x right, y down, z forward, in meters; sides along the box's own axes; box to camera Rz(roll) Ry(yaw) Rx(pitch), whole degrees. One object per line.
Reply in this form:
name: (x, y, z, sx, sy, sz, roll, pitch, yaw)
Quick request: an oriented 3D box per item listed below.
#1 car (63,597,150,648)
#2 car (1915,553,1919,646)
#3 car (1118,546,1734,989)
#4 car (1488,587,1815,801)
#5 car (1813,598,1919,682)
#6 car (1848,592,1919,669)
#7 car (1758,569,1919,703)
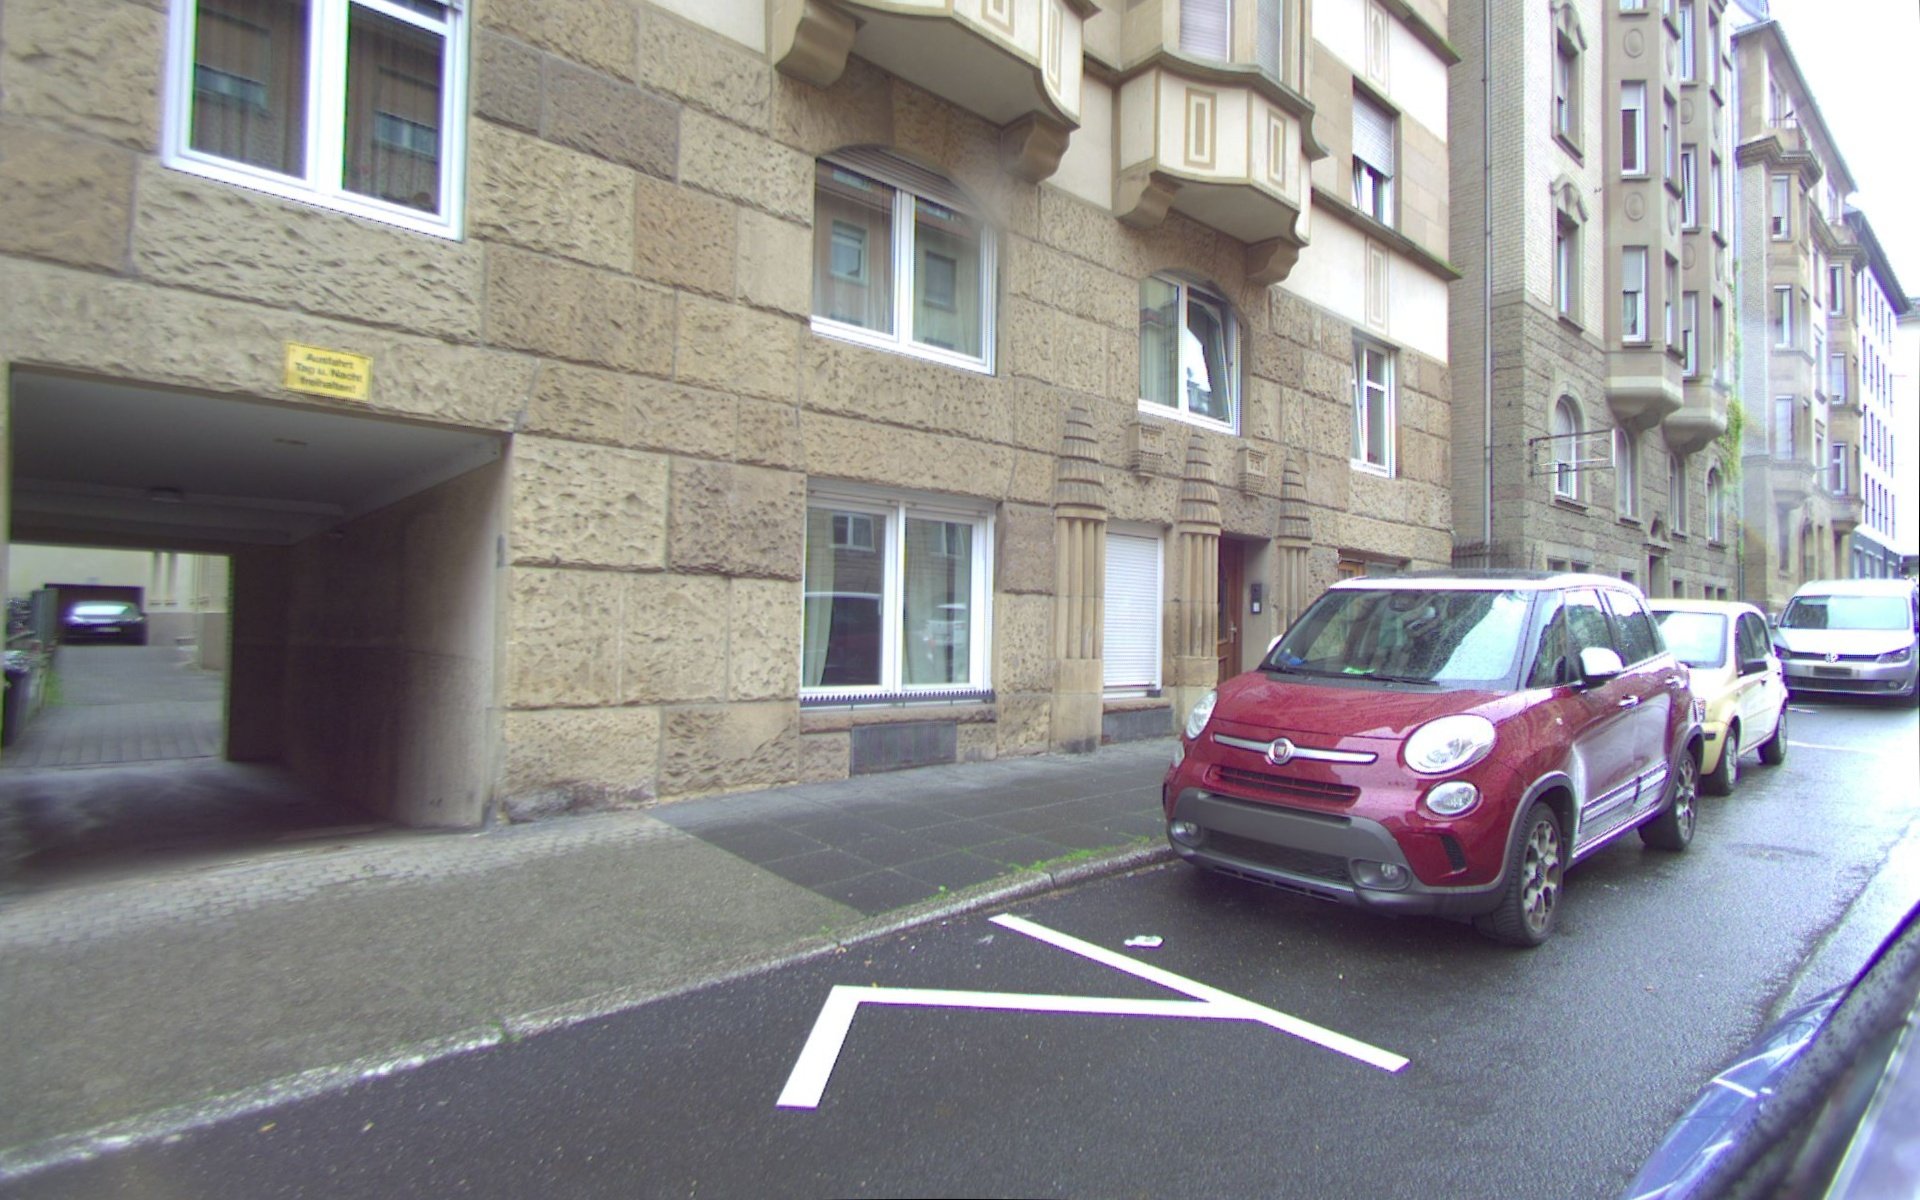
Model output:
car: (-24.971, 0.608, 29.577, 1.765, 1.363, 4.008, -1, 1, -43)
car: (29.282, -0.030, 28.954, 6.042, 2.567, 1.991, 0, -1, -39)
car: (2.828, 0.591, 5.699, 3.932, 1.621, 1.772, 0, 1, -42)
car: (6.269, 0.682, 9.047, 3.471, 1.530, 1.630, 0, -1, -42)
car: (17.281, 0.663, 18.533, 3.912, 1.406, 1.929, 0, -1, -41)
car: (20.592, 0.608, 21.591, 3.987, 1.544, 1.933, 0, -1, -41)
car: (13.740, 0.472, 15.397, 3.893, 1.791, 1.809, 0, 0, -41)
